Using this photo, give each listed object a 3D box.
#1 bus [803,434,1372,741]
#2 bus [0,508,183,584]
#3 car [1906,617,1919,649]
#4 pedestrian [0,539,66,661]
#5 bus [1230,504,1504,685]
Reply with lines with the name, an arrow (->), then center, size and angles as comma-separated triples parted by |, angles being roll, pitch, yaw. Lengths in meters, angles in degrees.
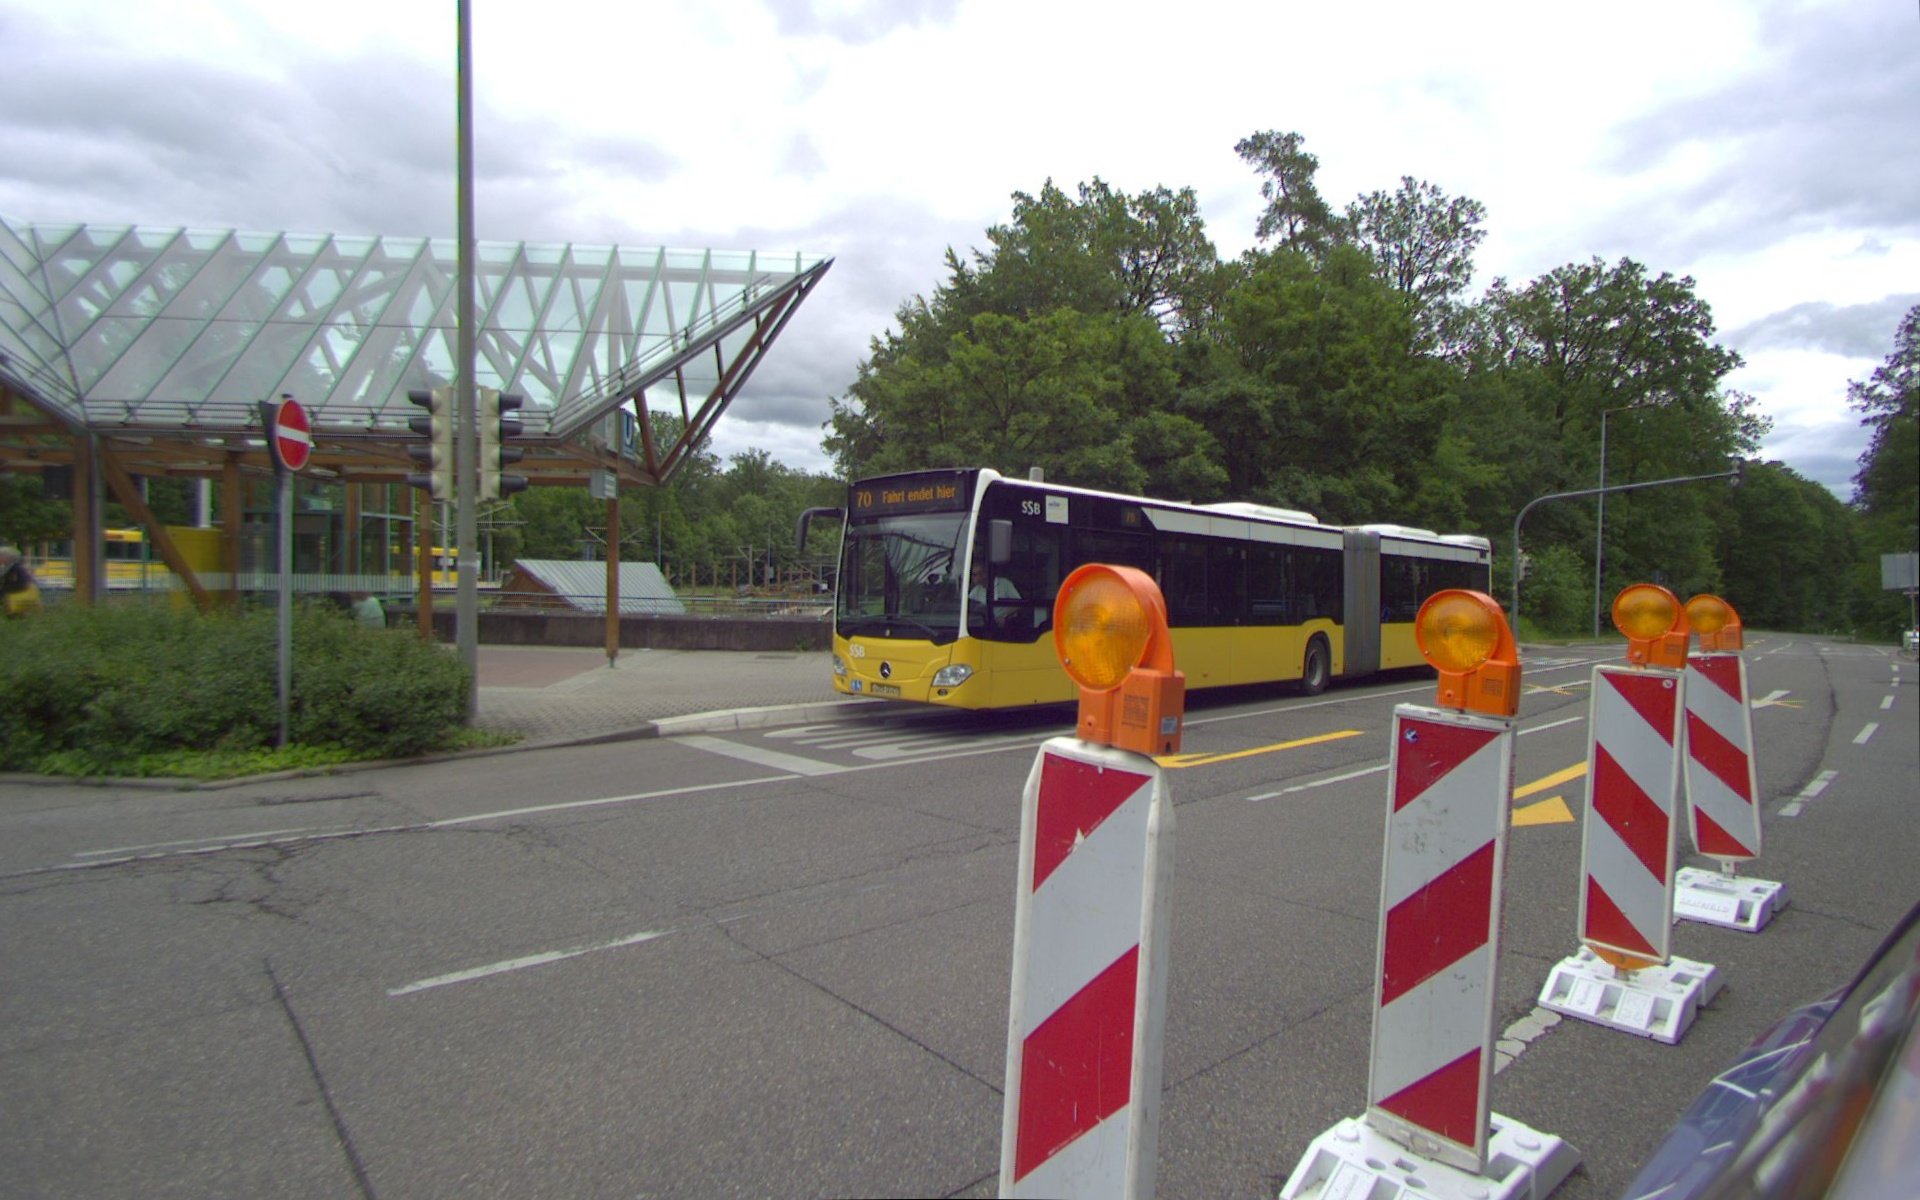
bus -> 2.678, -0.128, 15.236 | 2.804, 3.199, 10.348 | 1, 0, 45
bus -> -47.221, -2.566, 47.789 | 3.919, 3.527, 18.504 | 0, 1, 13
car -> 45.242, 1.528, 46.978 | 1.744, 1.347, 3.941 | 0, 1, 41
pedestrian -> -14.013, -0.007, 15.164 | 0.657, 1.780, 0.654 | 0, 0, 9
bus -> 8.953, -0.104, 21.658 | 2.803, 3.199, 7.633 | 1, 0, 44
